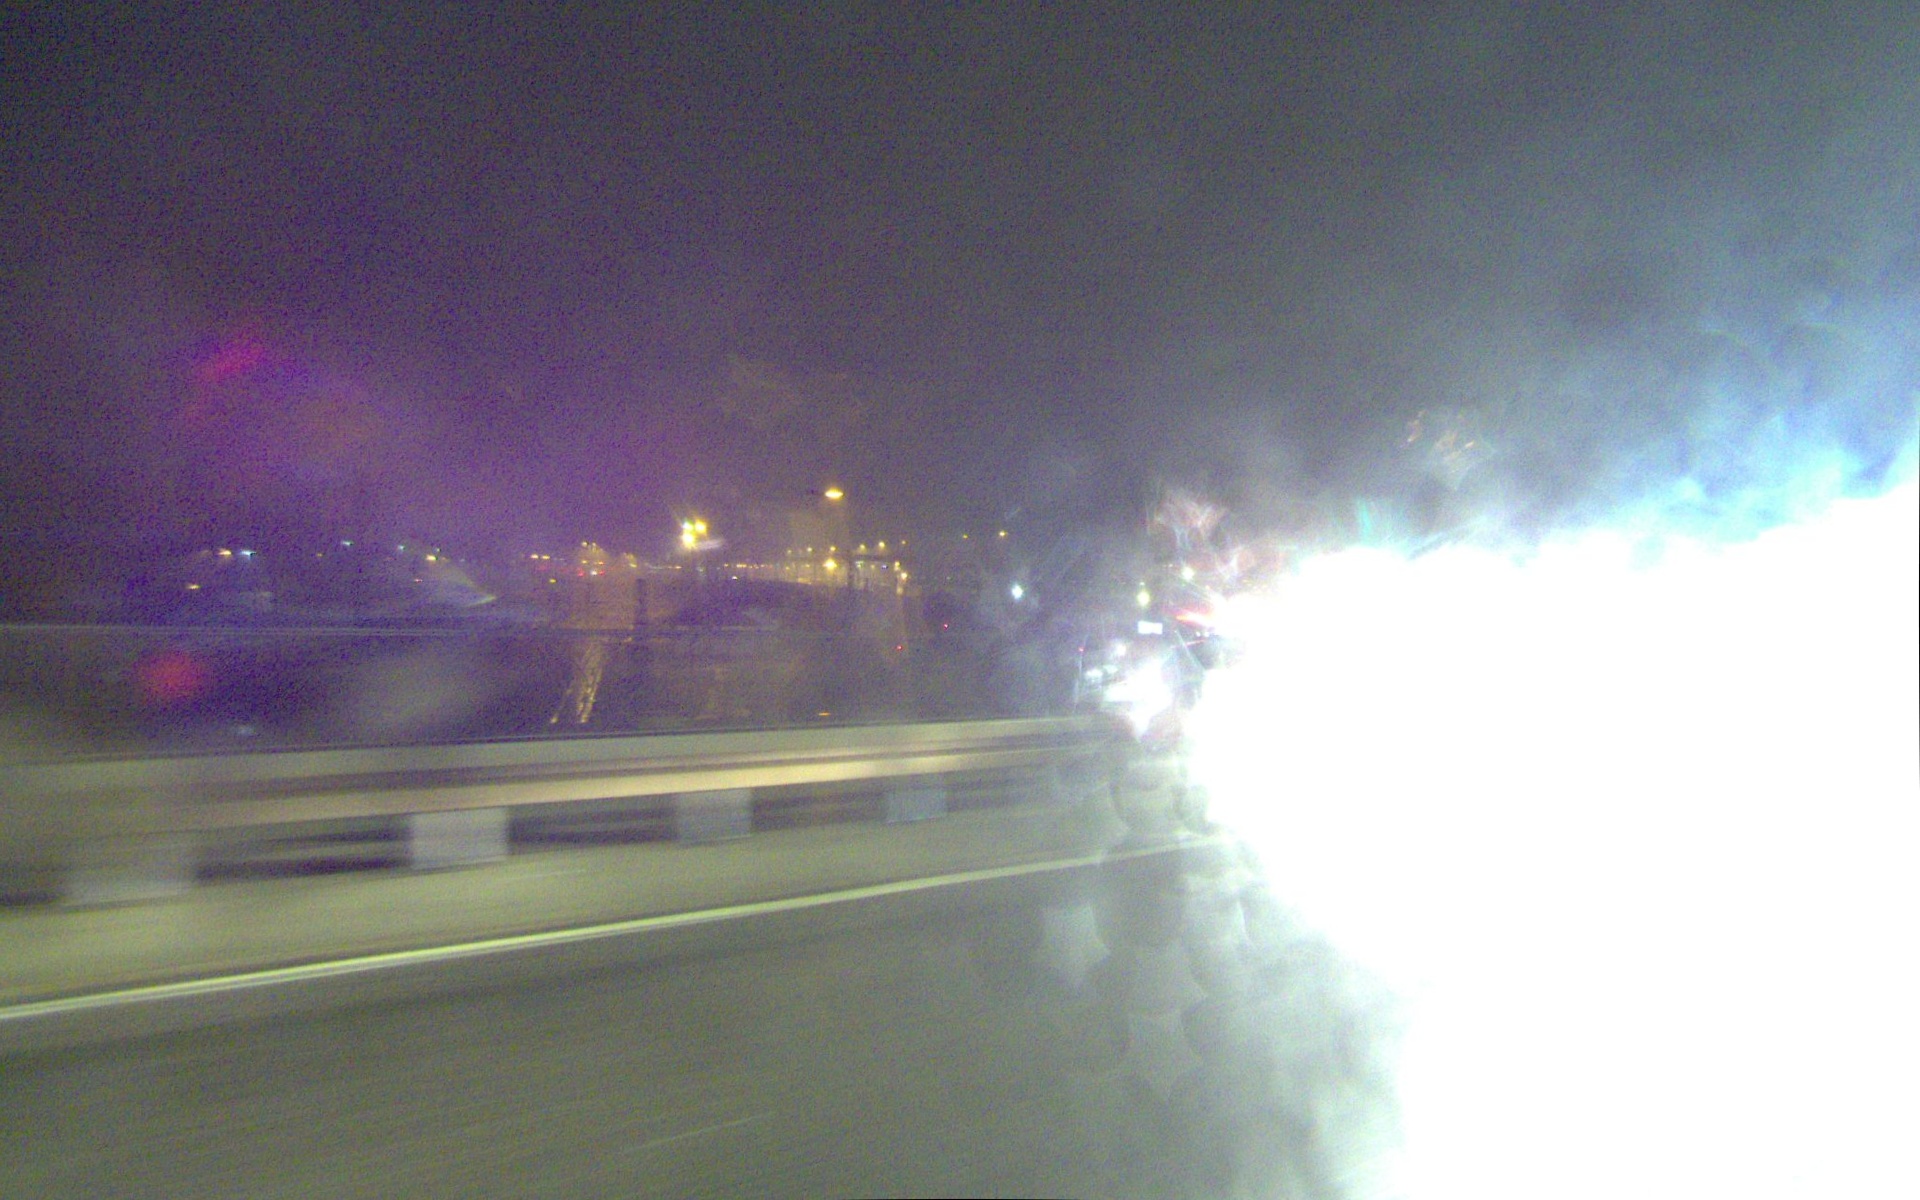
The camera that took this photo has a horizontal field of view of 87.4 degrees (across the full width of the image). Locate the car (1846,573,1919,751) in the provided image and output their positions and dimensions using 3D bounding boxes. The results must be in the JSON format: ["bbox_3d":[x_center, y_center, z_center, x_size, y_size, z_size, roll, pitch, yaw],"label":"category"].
[{"bbox_3d":[14.151,0.840,13.762,5.106,2.199,2.029,2,-1,-37],"label":"car"}]

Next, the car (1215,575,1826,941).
[{"bbox_3d":[3.663,0.715,6.376,3.950,1.652,1.782,0,0,-34],"label":"car"}]
